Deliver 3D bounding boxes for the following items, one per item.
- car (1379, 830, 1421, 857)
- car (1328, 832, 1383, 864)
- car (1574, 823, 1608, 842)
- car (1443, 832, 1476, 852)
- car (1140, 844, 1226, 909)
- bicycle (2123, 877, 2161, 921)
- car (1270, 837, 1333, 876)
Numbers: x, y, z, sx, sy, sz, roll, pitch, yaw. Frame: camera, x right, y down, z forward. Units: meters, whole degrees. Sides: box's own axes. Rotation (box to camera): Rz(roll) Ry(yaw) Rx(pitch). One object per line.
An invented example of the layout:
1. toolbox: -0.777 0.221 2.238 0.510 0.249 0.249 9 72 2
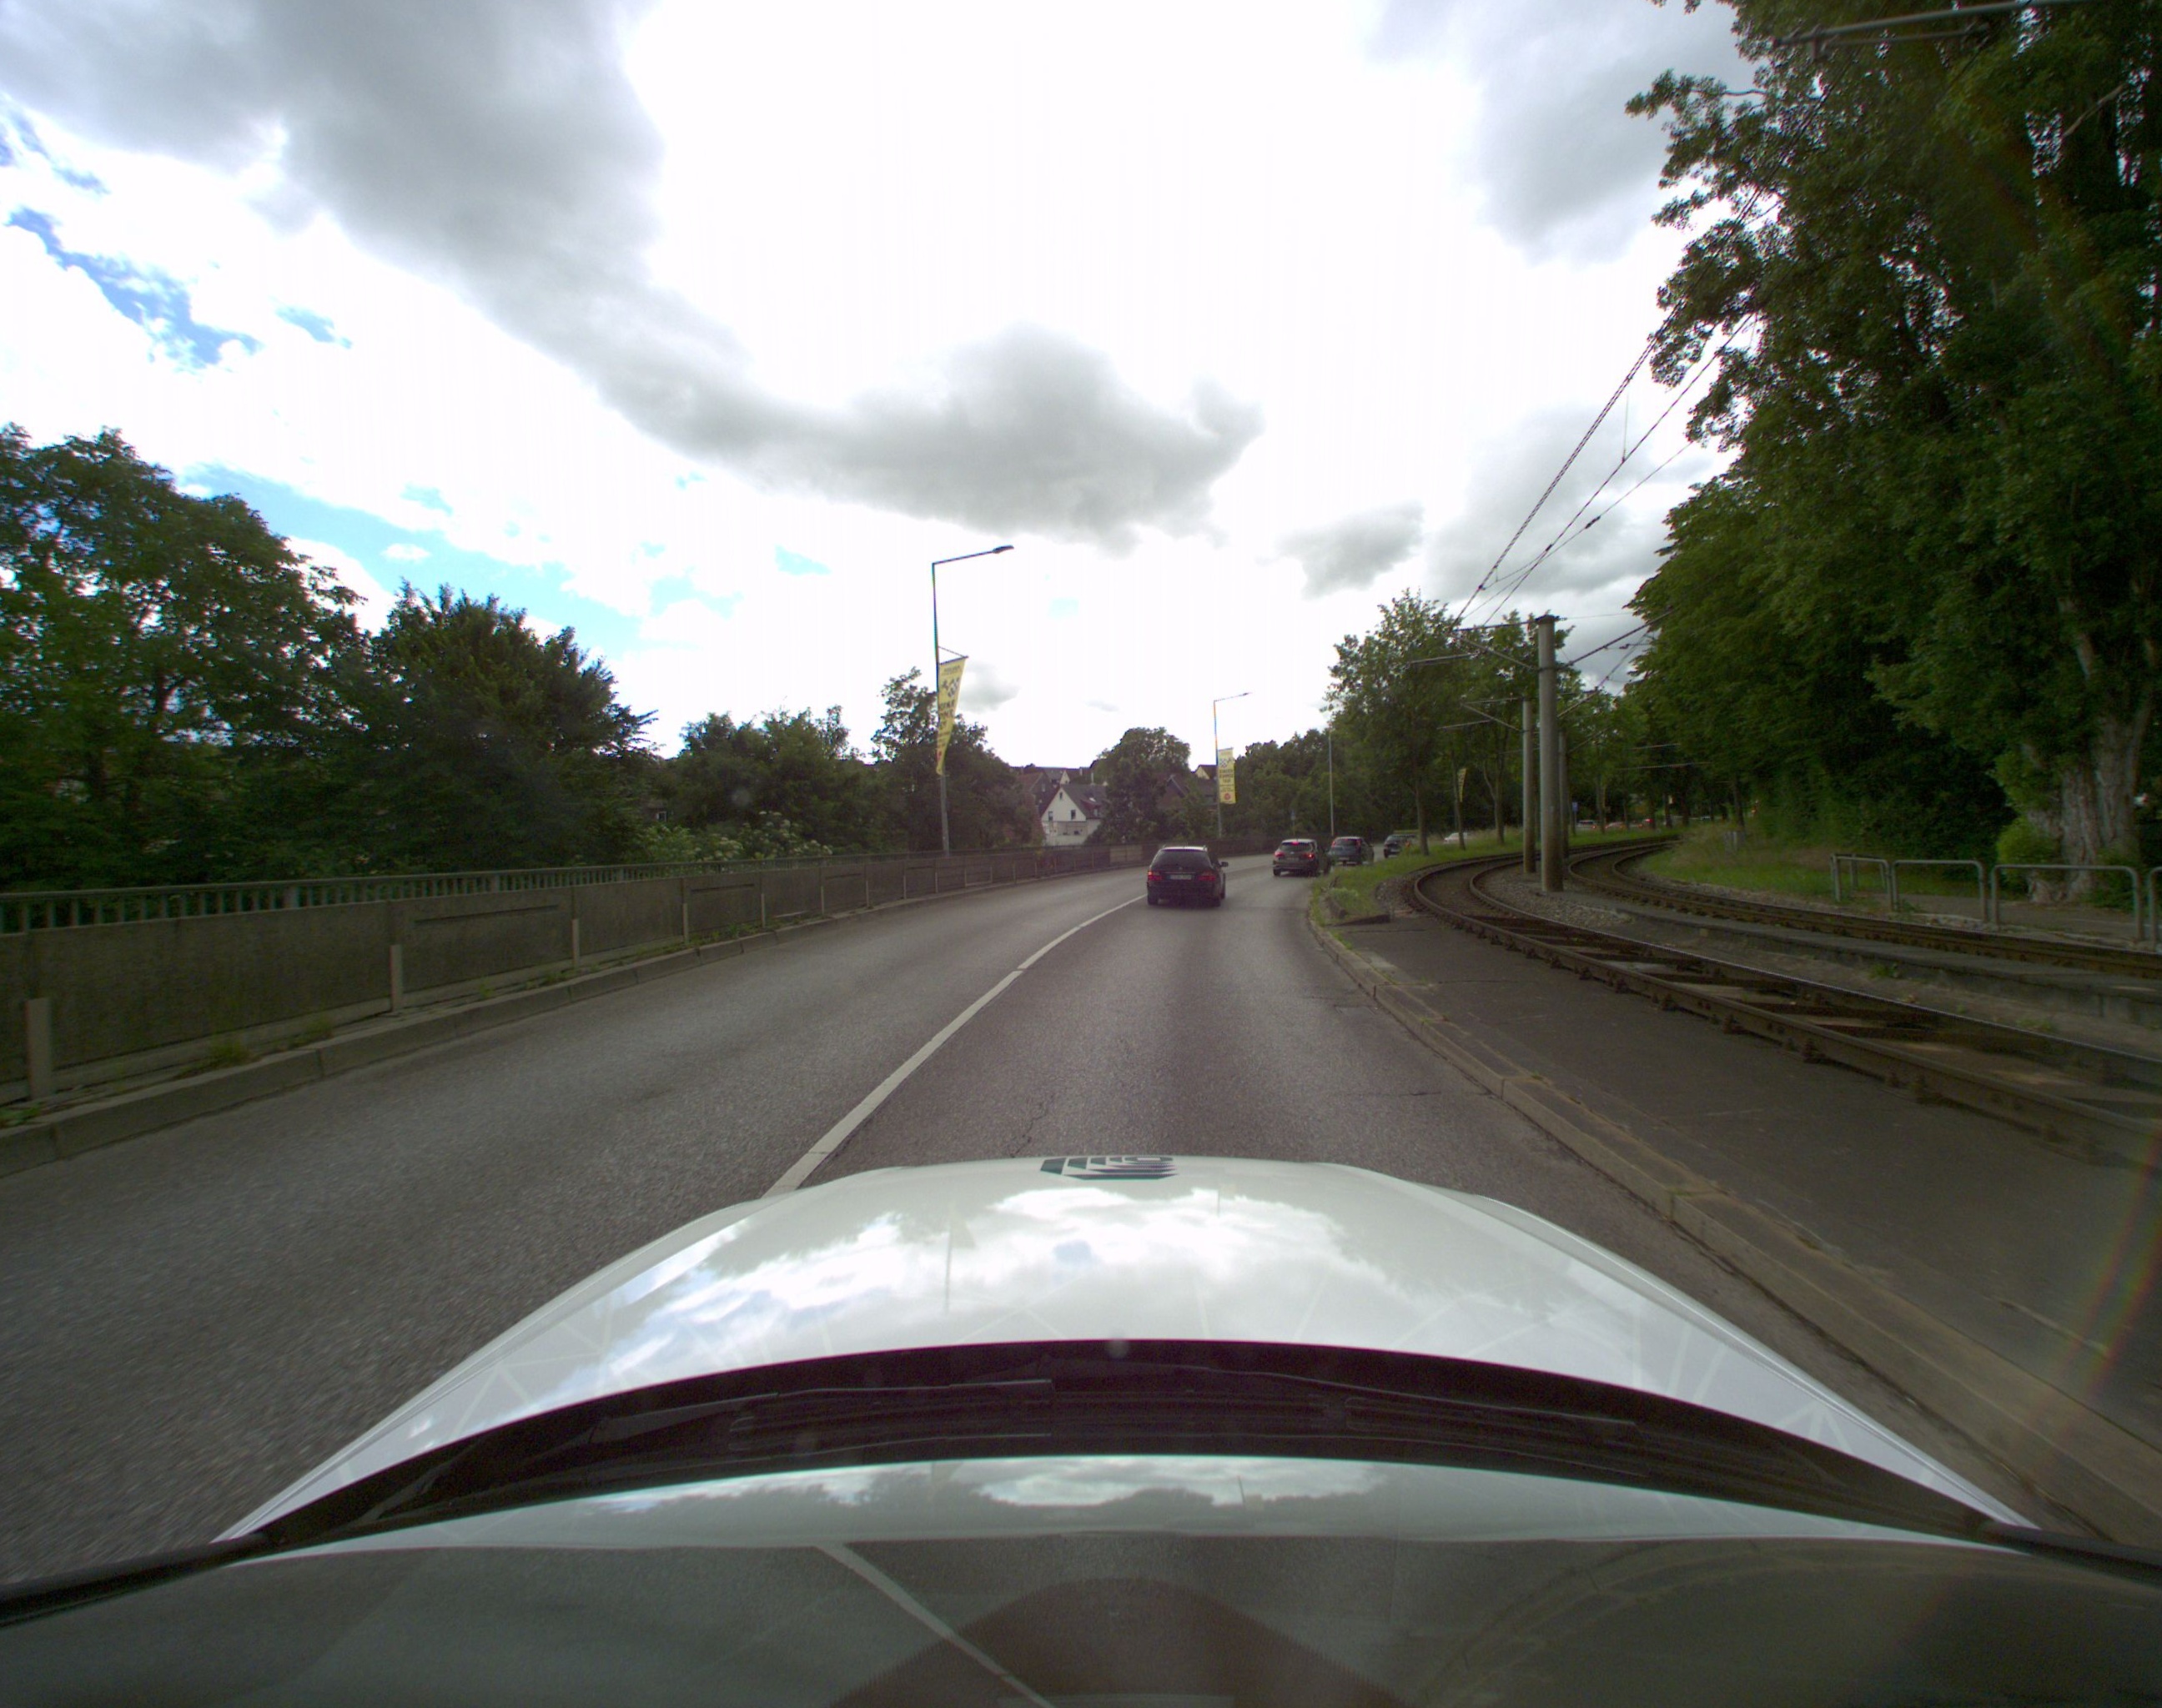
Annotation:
1. car: 19.493 -0.660 49.706 1.562 1.538 4.026 -1 1 33
2. car: 14.319 -0.340 42.358 1.875 1.574 4.025 0 1 31
3. car: 51.249 -2.175 81.880 4.023 1.859 1.911 -2 1 -43
4. car: 27.937 -0.885 60.005 1.486 1.364 3.610 -1 1 36
5. car: 2.761 0.488 21.220 1.839 1.486 4.436 1 1 12
6. bicycle: 26.888 1.106 19.770 2.056 1.050 0.429 0 2 19
7. car: 9.384 0.059 34.497 1.758 1.494 4.024 1 2 27
